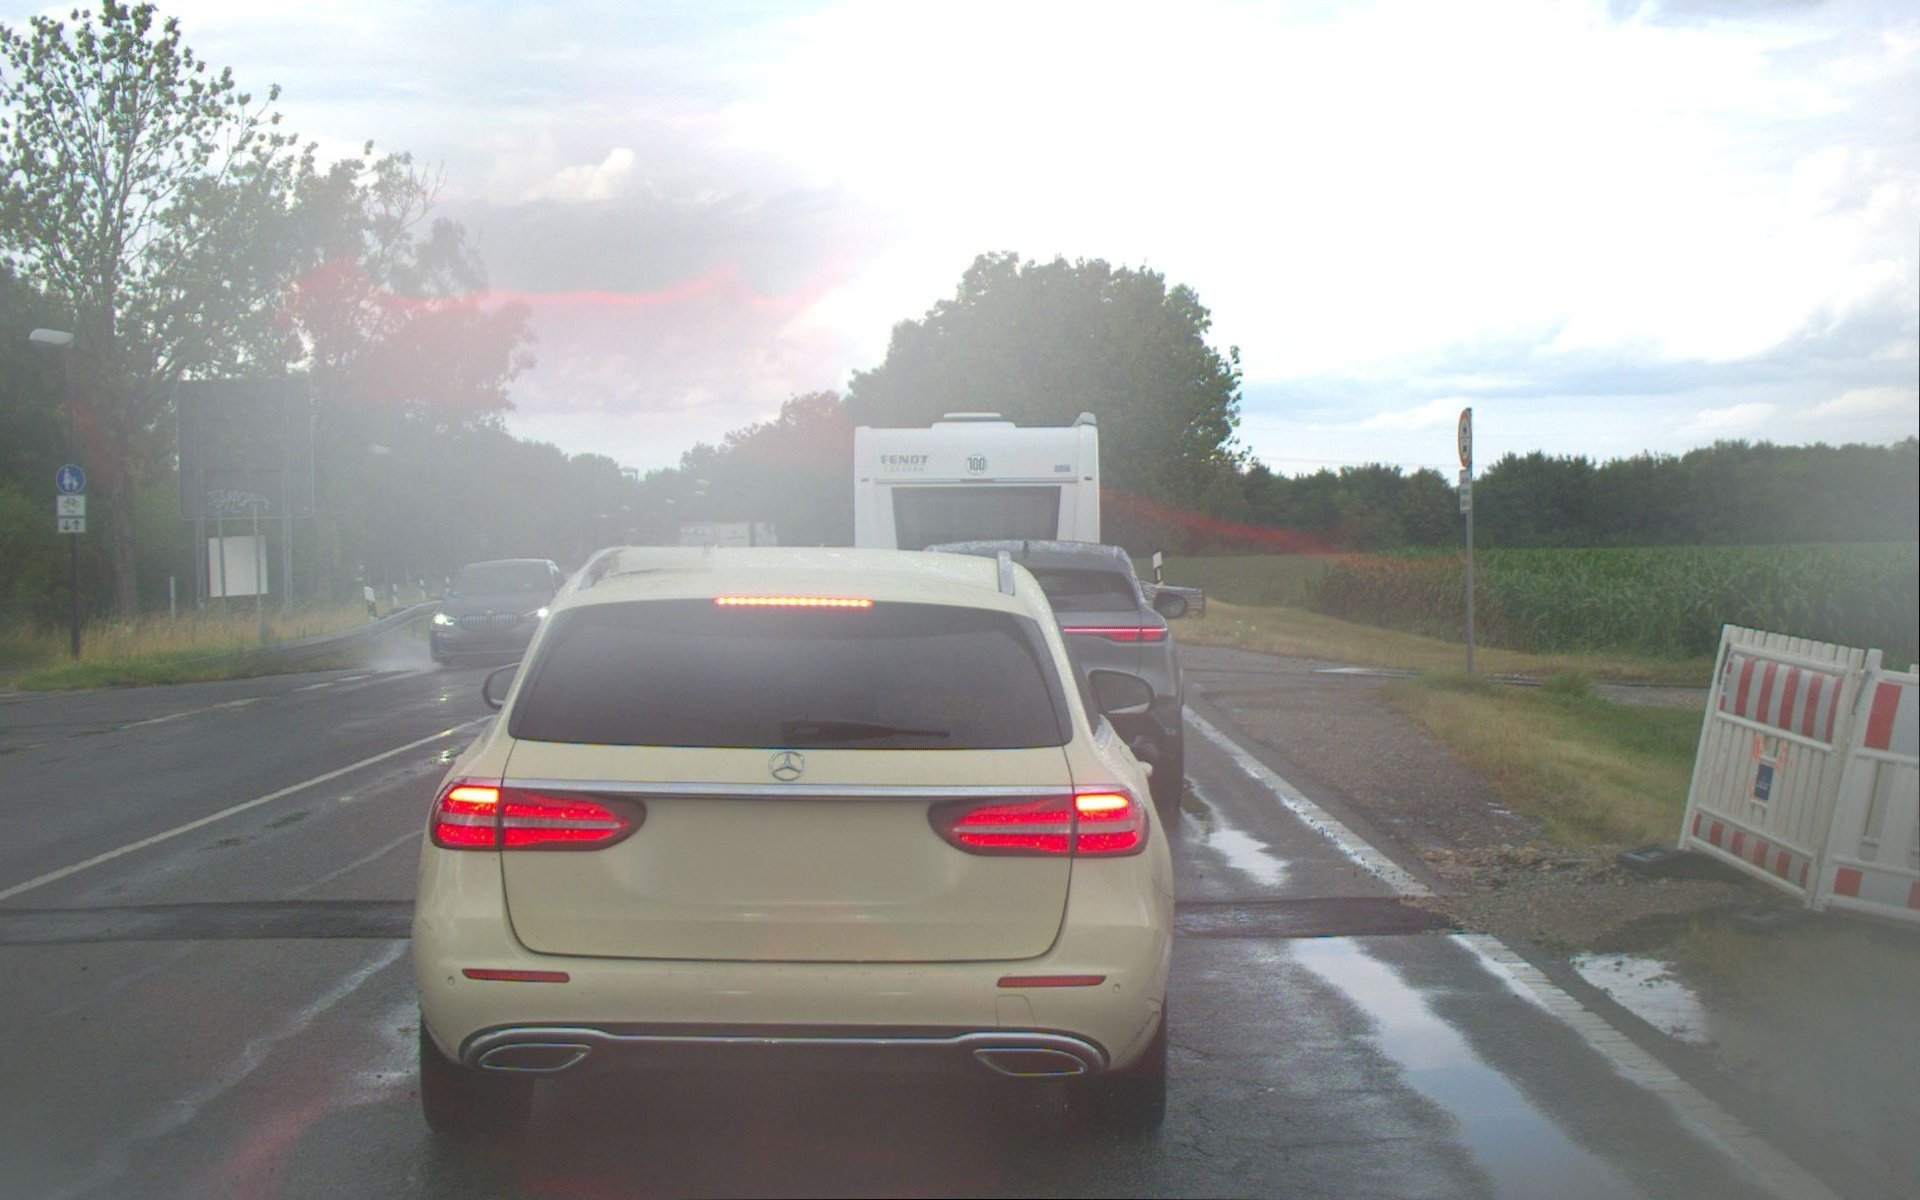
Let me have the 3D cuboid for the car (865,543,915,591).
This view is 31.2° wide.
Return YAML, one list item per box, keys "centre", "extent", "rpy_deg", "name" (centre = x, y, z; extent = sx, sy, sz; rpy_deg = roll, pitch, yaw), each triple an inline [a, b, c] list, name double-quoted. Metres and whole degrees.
- centre: [-2.619, -1.252, 129.326]
  extent: [1.791, 1.771, 3.721]
  rpy_deg: [-1, 1, -1]
  name: "car"

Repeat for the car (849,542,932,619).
- centre: [-1.702, -0.512, 85.405]
  extent: [1.915, 1.834, 3.795]
  rpy_deg: [-1, 1, 1]
  name: "car"

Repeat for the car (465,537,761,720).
- centre: [-3.120, 0.216, 31.887]
  extent: [2.302, 1.542, 4.633]
  rpy_deg: [1, 1, -1]
  name: "car"

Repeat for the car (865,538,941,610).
- centre: [-1.628, -0.784, 99.847]
  extent: [1.993, 2.007, 4.000]
  rpy_deg: [-1, 1, 2]
  name: "car"

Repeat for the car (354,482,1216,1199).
- centre: [-0.398, 0.529, 9.373]
  extent: [1.842, 1.612, 4.000]
  rpy_deg: [0, 1, -1]
  name: "car"

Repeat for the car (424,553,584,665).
- centre: [-6.312, 0.094, 47.952]
  extent: [1.719, 1.399, 4.044]
  rpy_deg: [-3, 1, -1]
  name: "car"

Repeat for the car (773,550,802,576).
- centre: [-12.427, -2.664, 248.124]
  extent: [1.895, 1.833, 3.882]
  rpy_deg: [-1, 1, -1]
  name: "car"

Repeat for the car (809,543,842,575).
- centre: [-8.226, -2.513, 210.043]
  extent: [1.895, 1.888, 3.844]
  rpy_deg: [-1, 1, -4]
  name: "car"

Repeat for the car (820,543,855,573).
- centre: [-7.031, -2.435, 196.952]
  extent: [1.748, 1.656, 3.673]
  rpy_deg: [-1, 1, -5]
  name: "car"

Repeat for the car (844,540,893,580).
- centre: [-4.176, -1.841, 156.207]
  extent: [1.993, 1.766, 4.001]
  rpy_deg: [-1, 1, -4]
  name: "car"

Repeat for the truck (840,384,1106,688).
- centre: [0.082, -0.646, 34.969]
  extent: [2.363, 2.719, 7.315]
  rpy_deg: [-1, 1, -1]
  name: "truck"

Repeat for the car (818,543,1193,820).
- centre: [0.221, 0.414, 20.458]
  extent: [1.993, 1.457, 4.000]
  rpy_deg: [1, 1, -1]
  name: "car"
